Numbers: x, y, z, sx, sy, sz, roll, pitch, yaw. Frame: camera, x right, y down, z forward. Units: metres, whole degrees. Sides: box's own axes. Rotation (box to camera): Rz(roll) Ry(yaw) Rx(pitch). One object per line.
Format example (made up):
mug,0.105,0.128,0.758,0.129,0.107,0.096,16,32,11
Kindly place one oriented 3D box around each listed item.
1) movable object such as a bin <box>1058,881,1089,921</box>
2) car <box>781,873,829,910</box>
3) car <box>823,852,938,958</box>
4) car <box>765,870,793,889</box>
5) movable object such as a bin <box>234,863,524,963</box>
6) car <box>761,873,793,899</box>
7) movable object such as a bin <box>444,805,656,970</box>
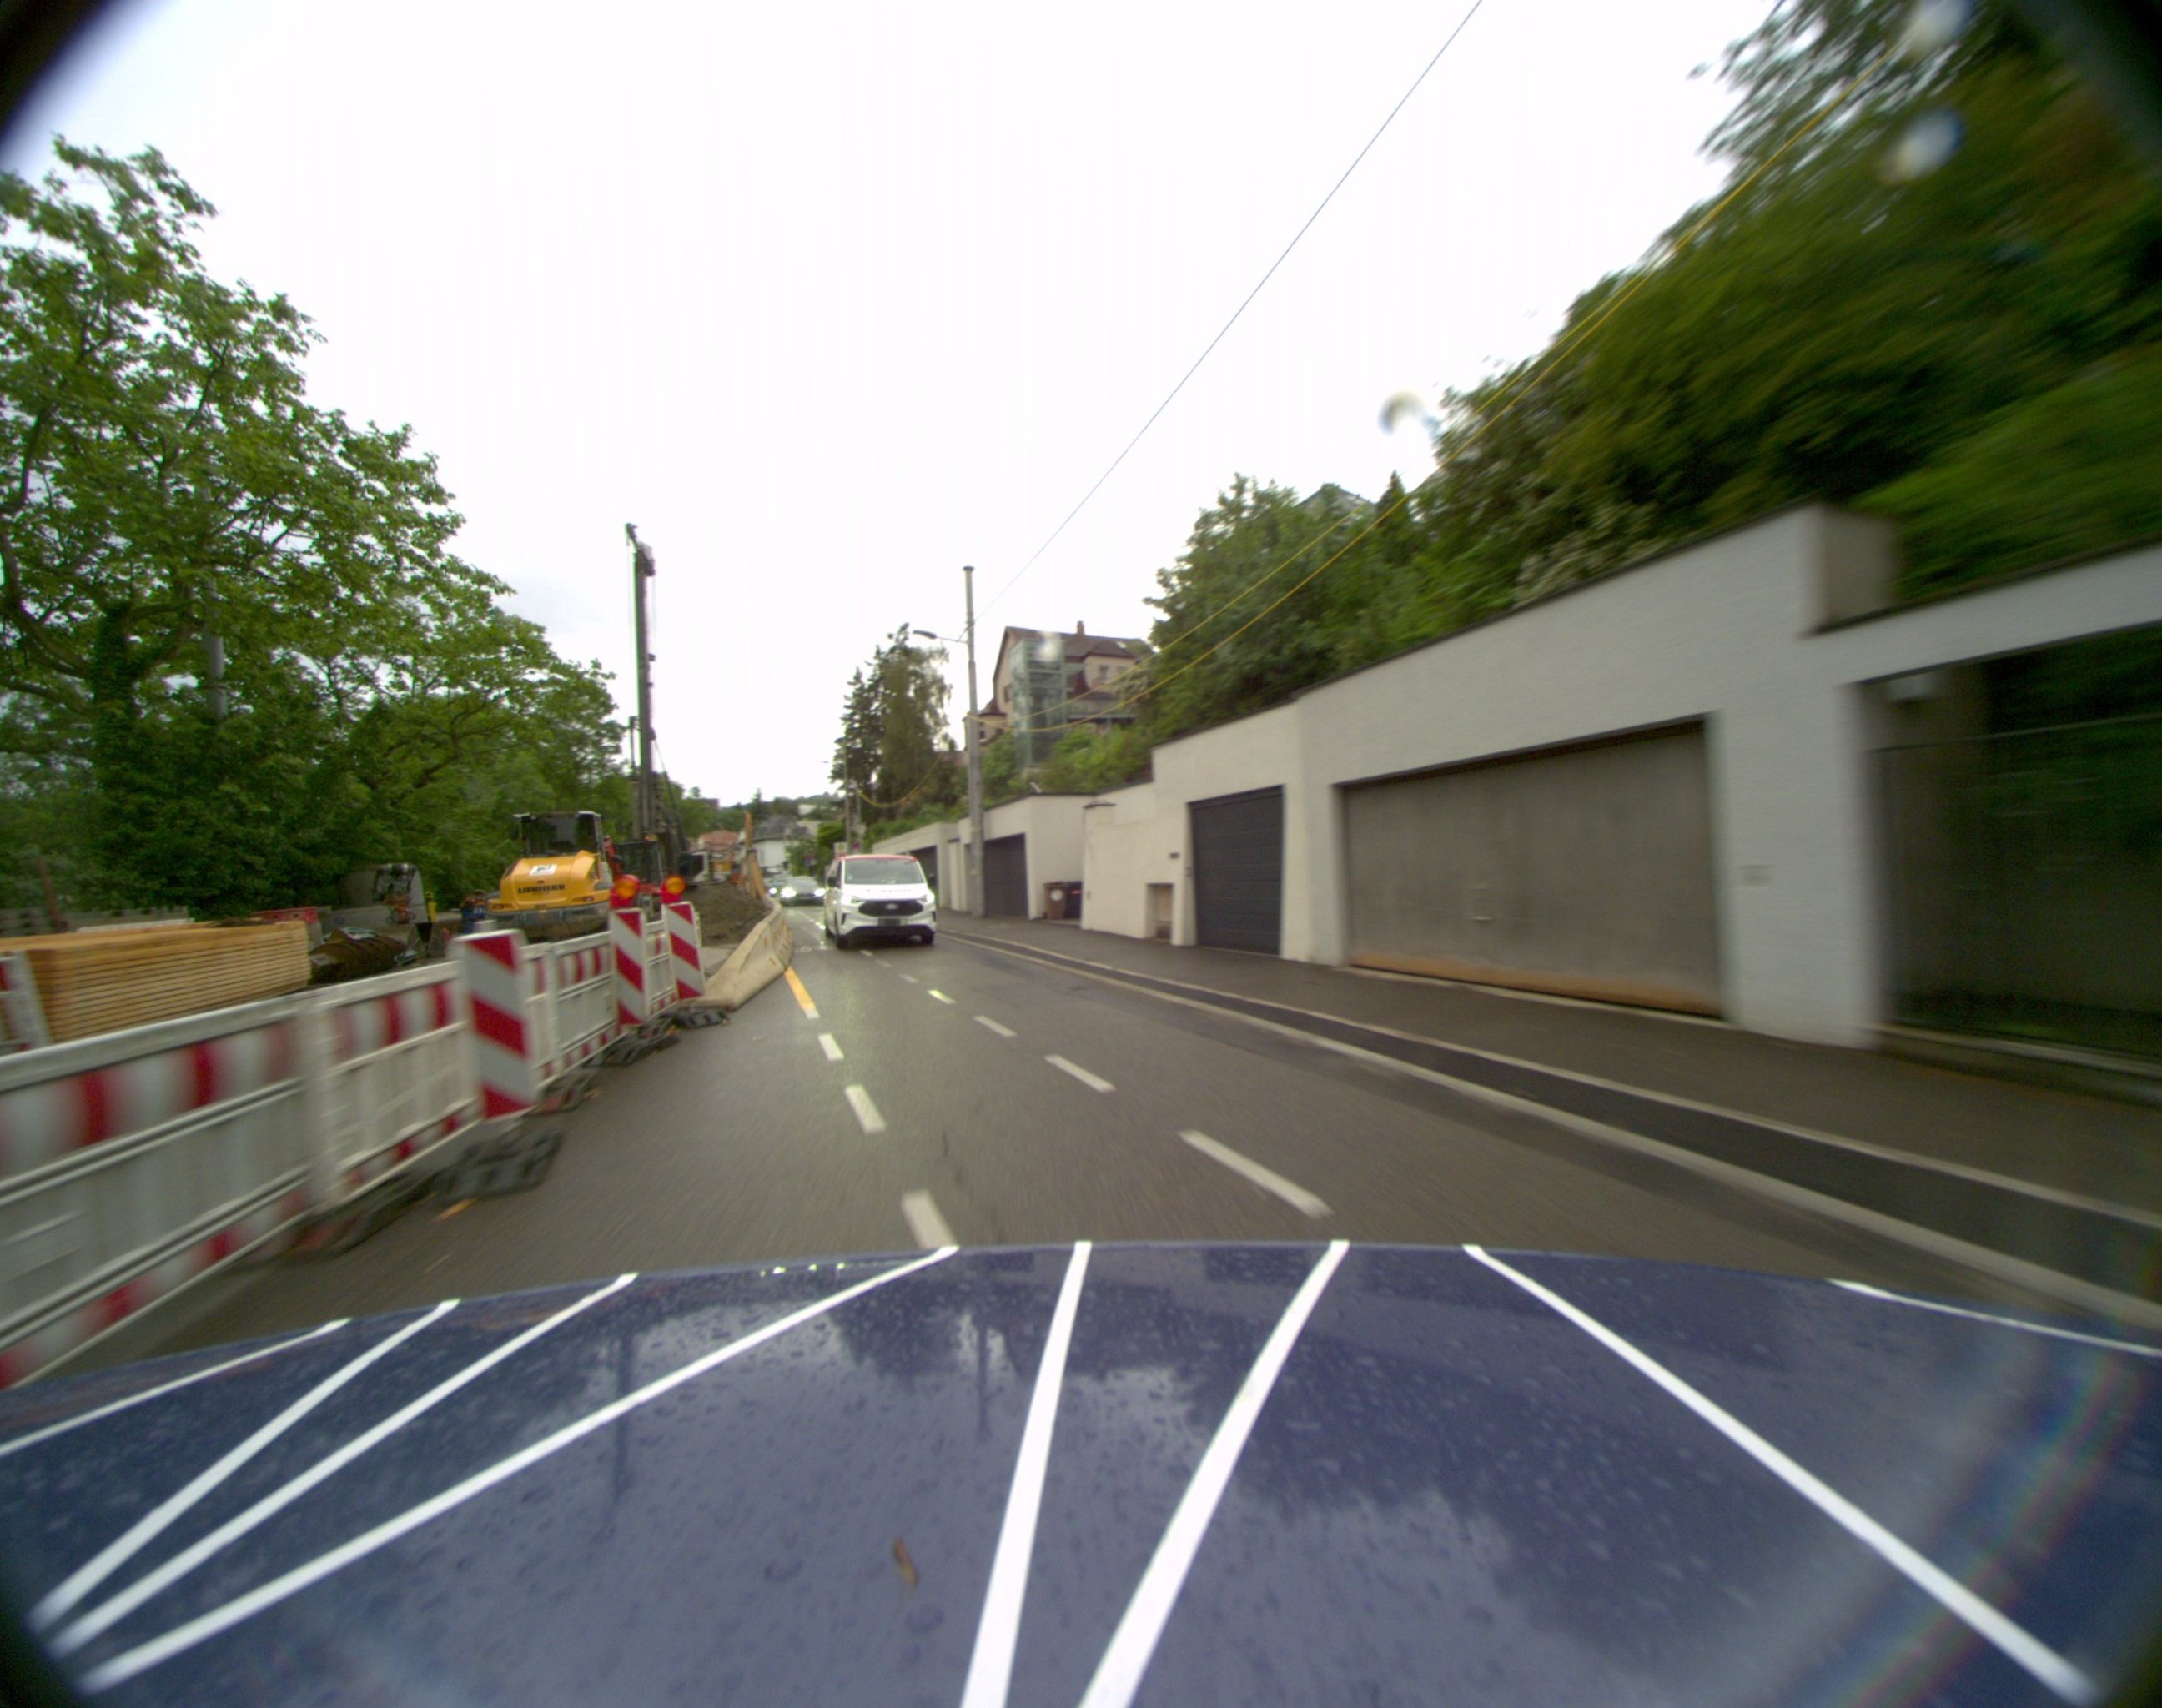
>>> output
movable object such as a bin,-0.193,1.173,19.187,0.509,0.925,0.767,-3,1,-21
car,-13.786,1.820,37.990,2.001,1.575,3.994,-4,0,-20
car,-4.655,1.053,17.075,2.002,2.001,4.941,1,-2,-20
car,-27.288,2.316,68.587,2.002,1.575,3.993,-4,0,-24
movable object such as a bin,-16.996,1.337,18.808,4.564,1.990,2.530,-2,1,-21
car,-21.707,2.261,54.216,2.002,1.575,3.993,-4,0,-22
movable object such as a bin,-11.441,0.614,16.929,2.537,3.049,4.850,-3,1,-19
